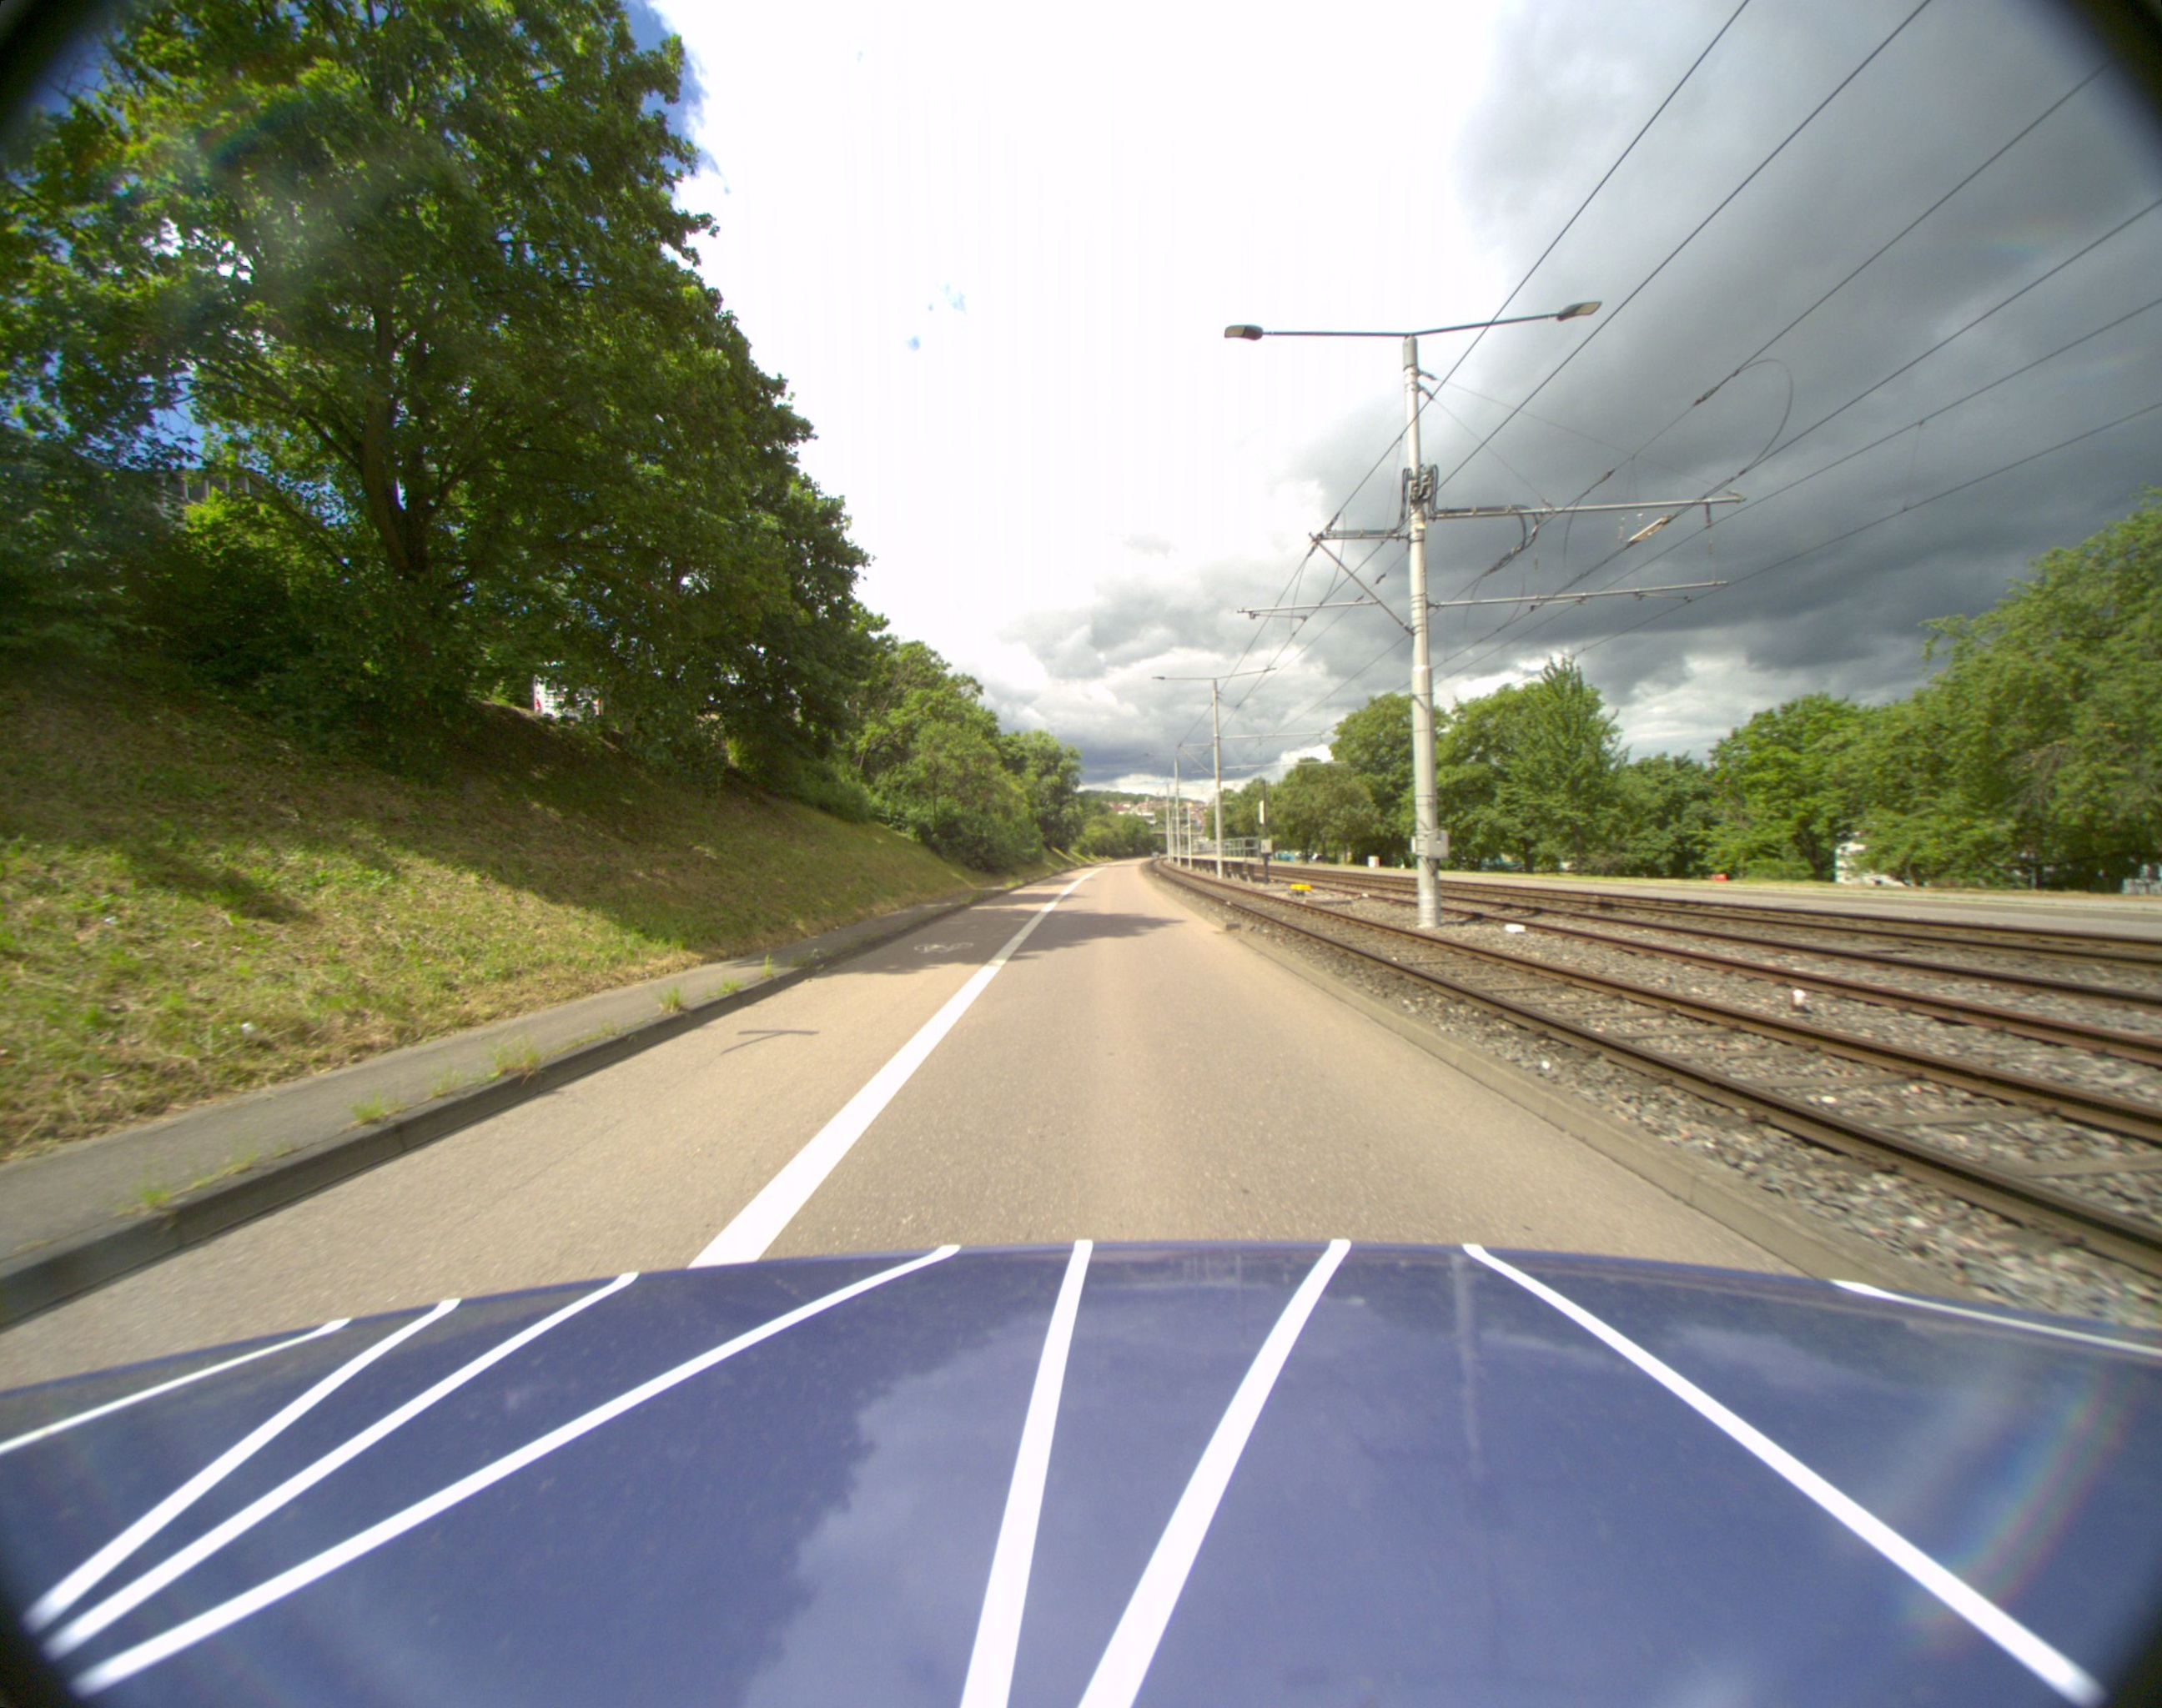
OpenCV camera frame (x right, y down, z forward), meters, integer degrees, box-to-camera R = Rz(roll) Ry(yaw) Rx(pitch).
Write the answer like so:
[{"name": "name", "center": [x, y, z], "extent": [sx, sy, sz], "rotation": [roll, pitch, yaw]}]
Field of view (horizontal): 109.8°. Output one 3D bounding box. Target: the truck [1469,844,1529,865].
[{"name": "truck", "center": [57.434, 0.072, 104.535], "extent": [6.615, 2.839, 2.681], "rotation": [1, 1, 7]}]

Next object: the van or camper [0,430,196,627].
[{"name": "van or camper", "center": [-16.499, -4.988, 10.111], "extent": [2.222, 2.057, 6.161], "rotation": [-2, 0, -1]}]

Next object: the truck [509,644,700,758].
[{"name": "truck", "center": [-16.775, -5.265, 27.449], "extent": [2.356, 2.643, 7.039], "rotation": [-2, 0, 0]}]
